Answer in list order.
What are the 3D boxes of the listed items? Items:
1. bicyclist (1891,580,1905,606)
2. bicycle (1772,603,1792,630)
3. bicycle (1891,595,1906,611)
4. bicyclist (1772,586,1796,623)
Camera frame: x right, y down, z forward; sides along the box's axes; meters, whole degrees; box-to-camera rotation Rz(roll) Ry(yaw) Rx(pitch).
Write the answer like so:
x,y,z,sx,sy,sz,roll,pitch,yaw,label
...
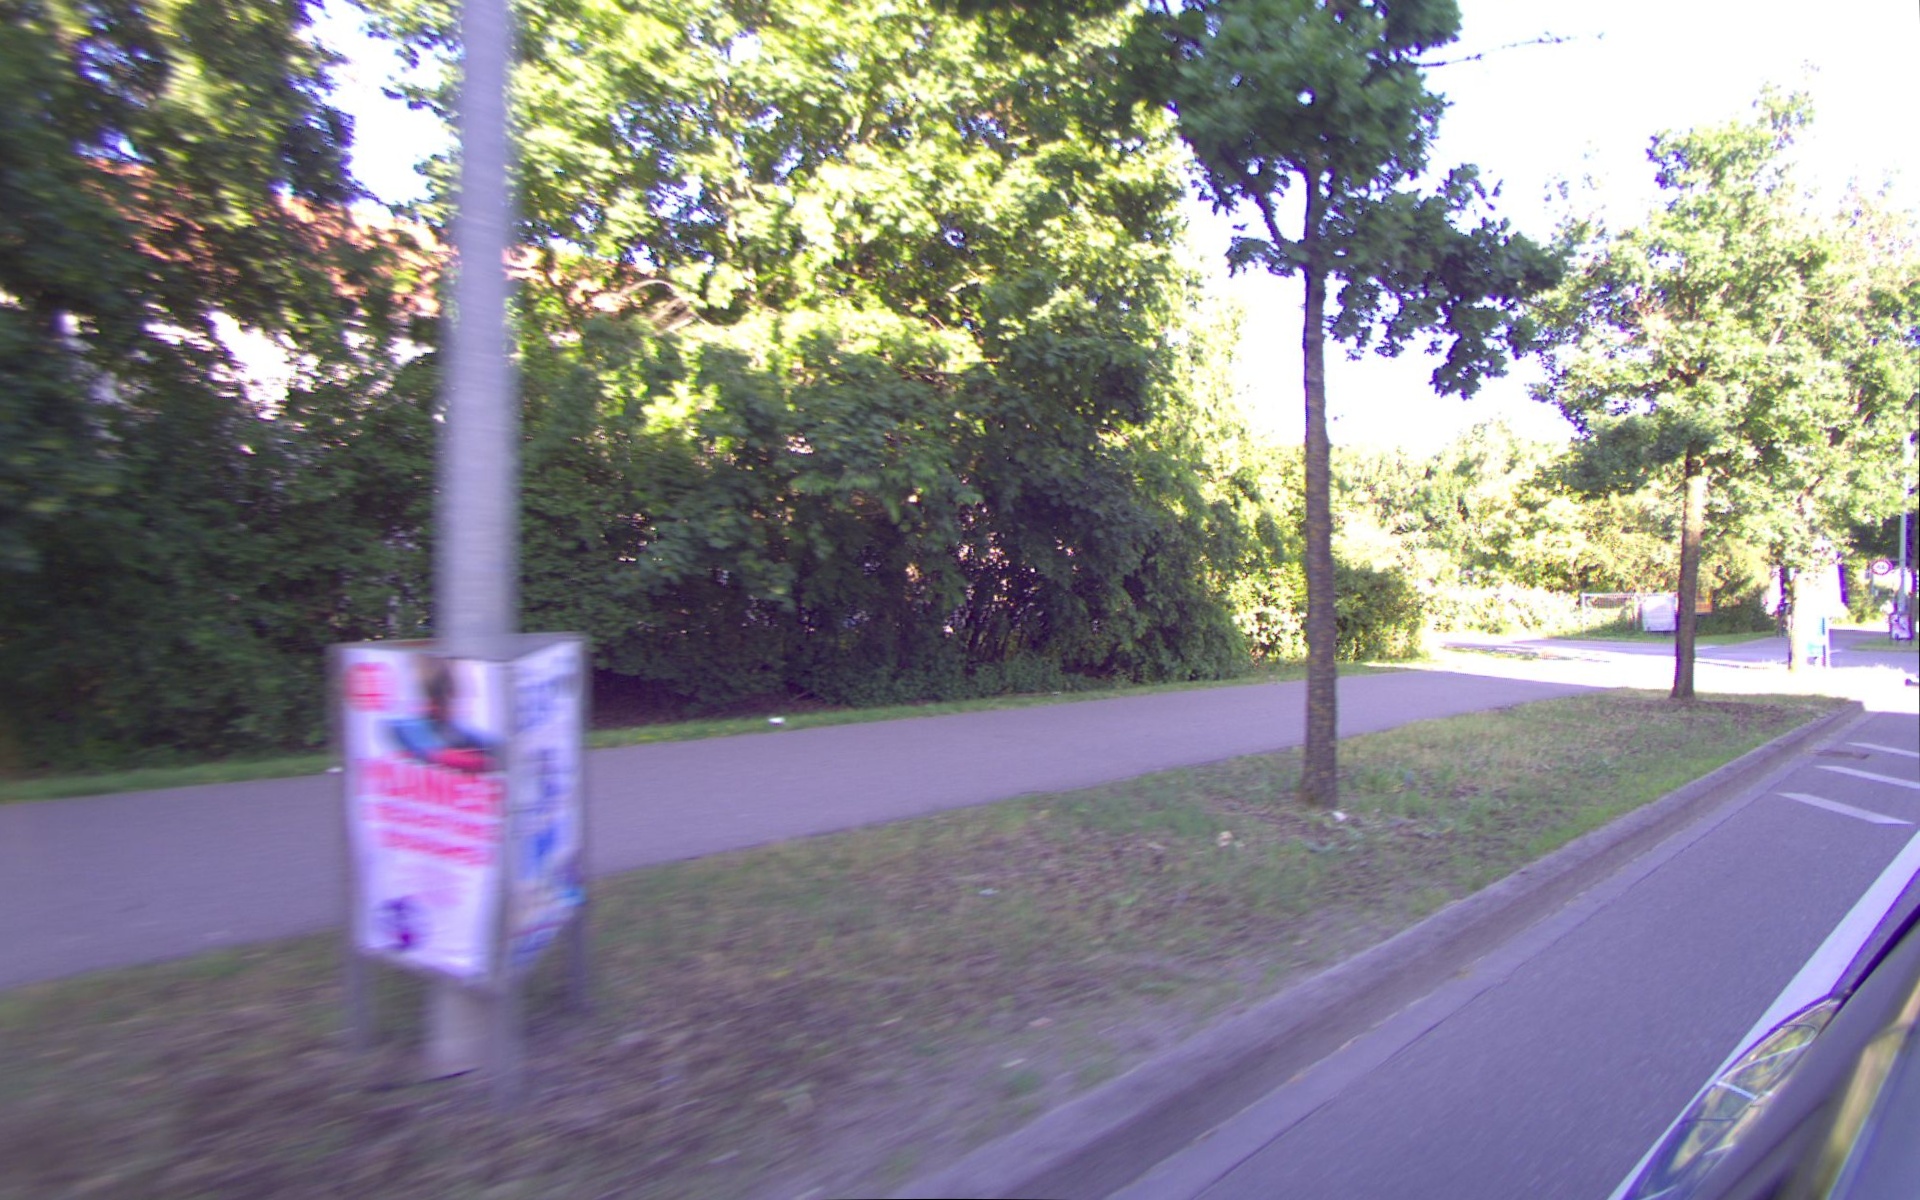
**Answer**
x,y,z,sx,sy,sz,roll,pitch,yaw,label
59.703,-0.460,64.424,0.851,1.630,0.565,0,1,-43,bicyclist
35.004,0.680,43.090,0.516,1.086,1.905,1,1,44,bicycle
59.818,0.218,64.502,2.012,1.004,0.572,1,0,-43,bicycle
34.915,0.181,42.879,0.685,1.541,1.019,1,1,44,bicyclist
